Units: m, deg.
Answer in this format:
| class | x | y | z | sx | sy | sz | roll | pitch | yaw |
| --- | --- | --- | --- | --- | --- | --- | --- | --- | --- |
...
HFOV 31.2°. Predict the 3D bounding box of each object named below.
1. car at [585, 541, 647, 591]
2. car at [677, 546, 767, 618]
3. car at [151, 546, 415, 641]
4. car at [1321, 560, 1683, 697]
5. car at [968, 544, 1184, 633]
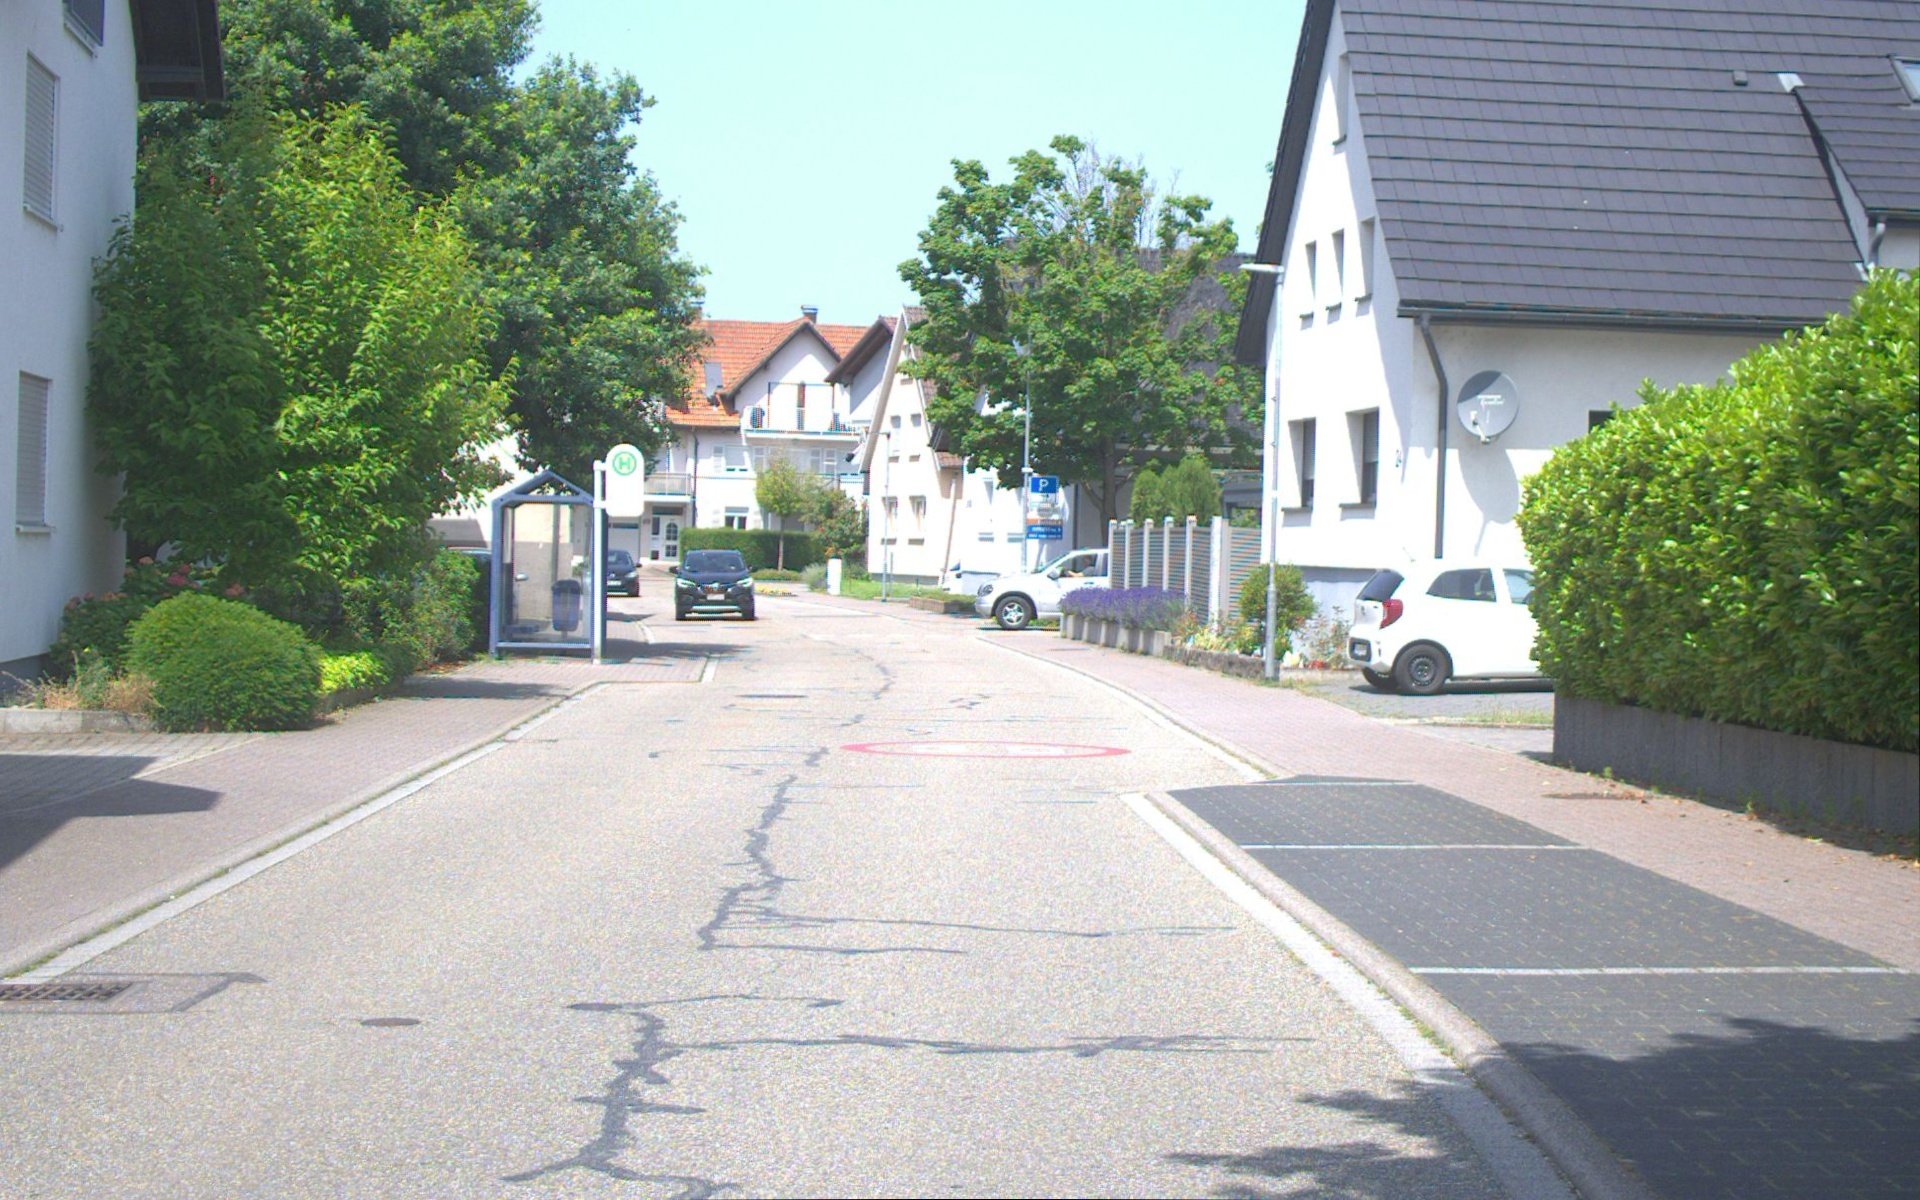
| class | x | y | z | sx | sy | sz | roll | pitch | yaw |
| --- | --- | --- | --- | --- | --- | --- | --- | --- | --- |
| car | -10.729 | -1.073 | 107.098 | 1.626 | 1.481 | 4.001 | 1 | 1 | -10 |
| car | -5.461 | -0.427 | 79.348 | 1.776 | 1.618 | 4.105 | 0 | 1 | 0 |
| car | -11.237 | -0.125 | 57.284 | 4.159 | 1.533 | 1.774 | 0 | 1 | -6 |
| car | 6.085 | 0.304 | 38.813 | 3.656 | 1.469 | 1.766 | 0 | 2 | -8 |
| car | 2.379 | -0.252 | 71.131 | 4.316 | 1.761 | 1.892 | -1 | 1 | -3 |
